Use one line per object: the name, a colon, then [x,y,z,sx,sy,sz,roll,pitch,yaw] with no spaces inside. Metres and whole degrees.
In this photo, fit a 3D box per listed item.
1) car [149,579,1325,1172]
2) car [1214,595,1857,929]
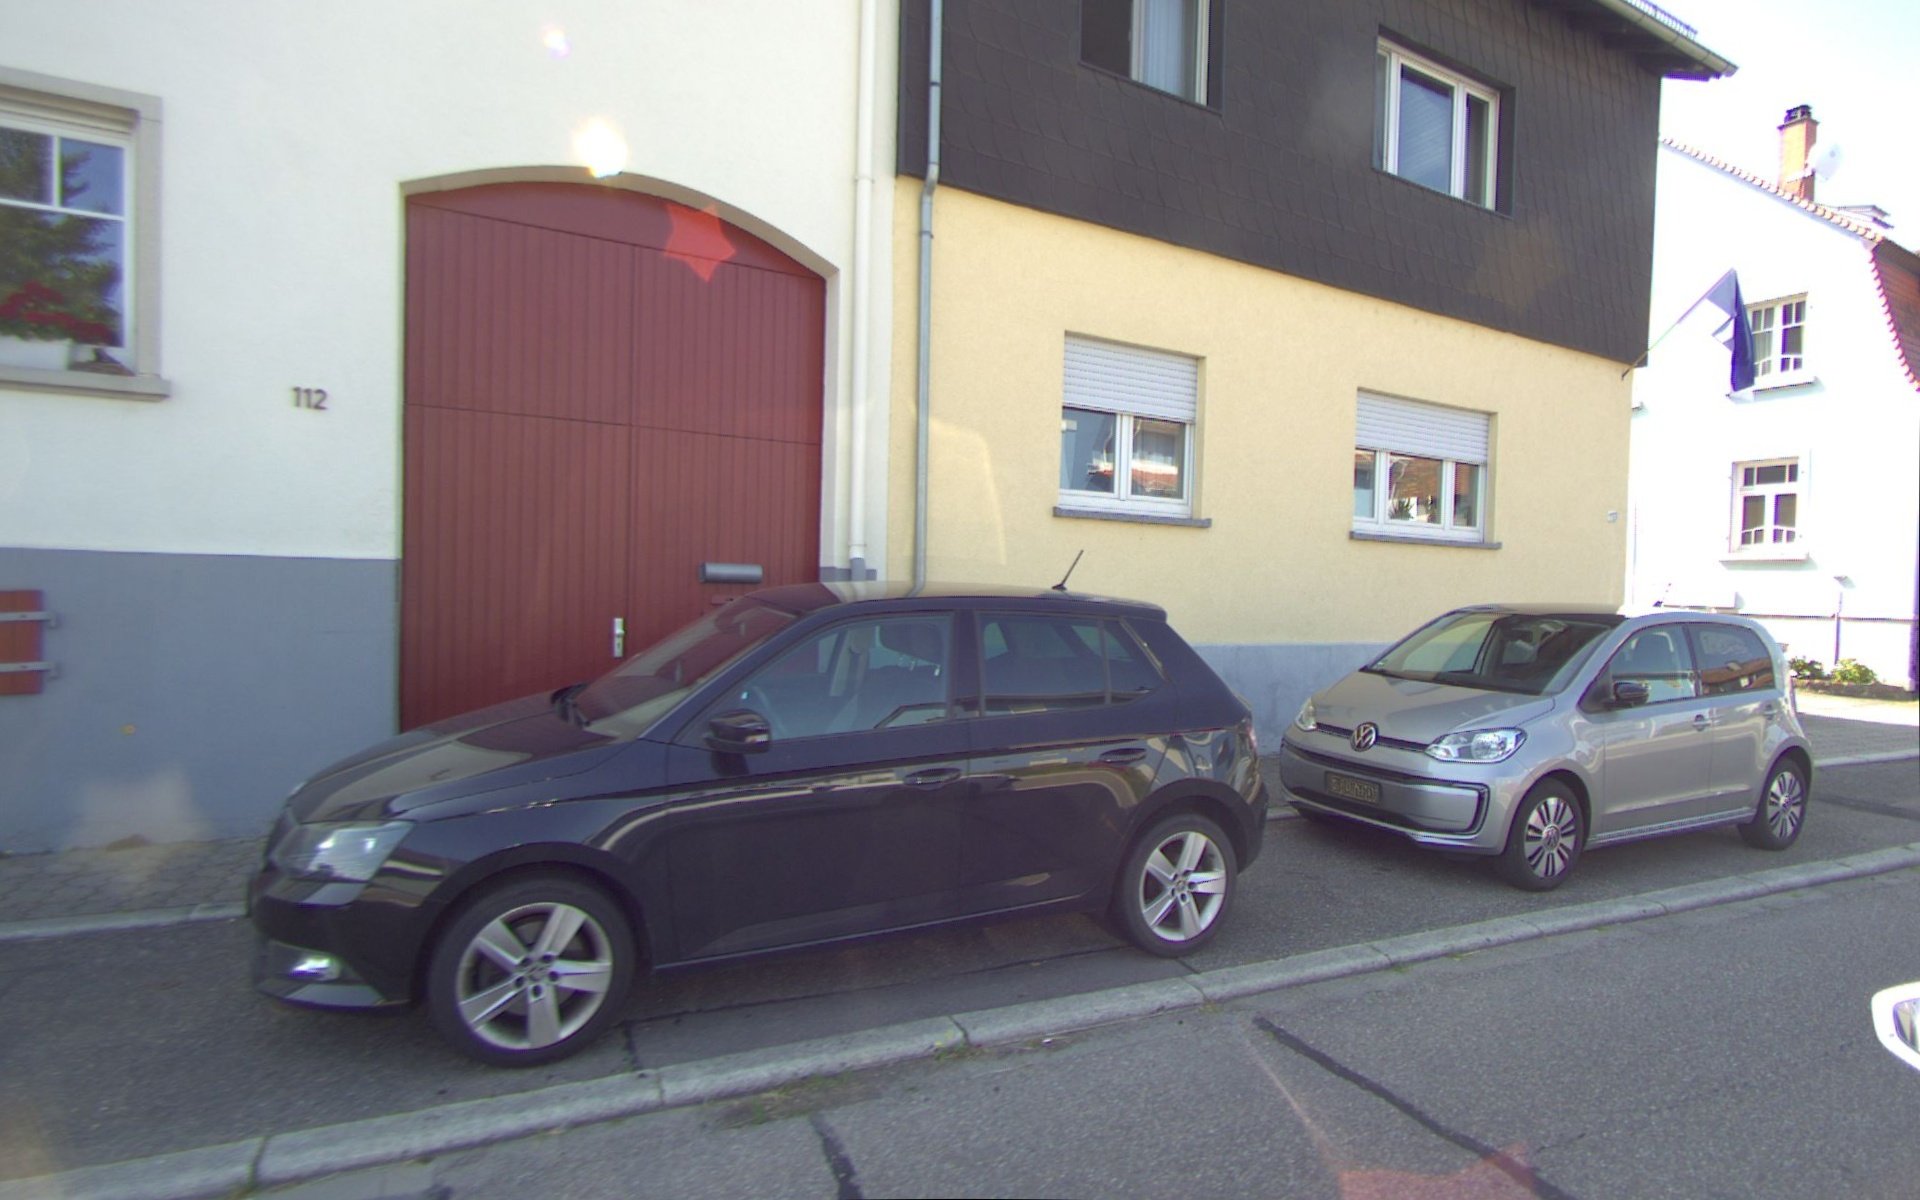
car: [-0.611,0.726,4.144,3.942,1.456,1.673,1,2,-26]
car: [3.630,0.805,6.304,3.731,1.521,1.635,1,2,-26]
